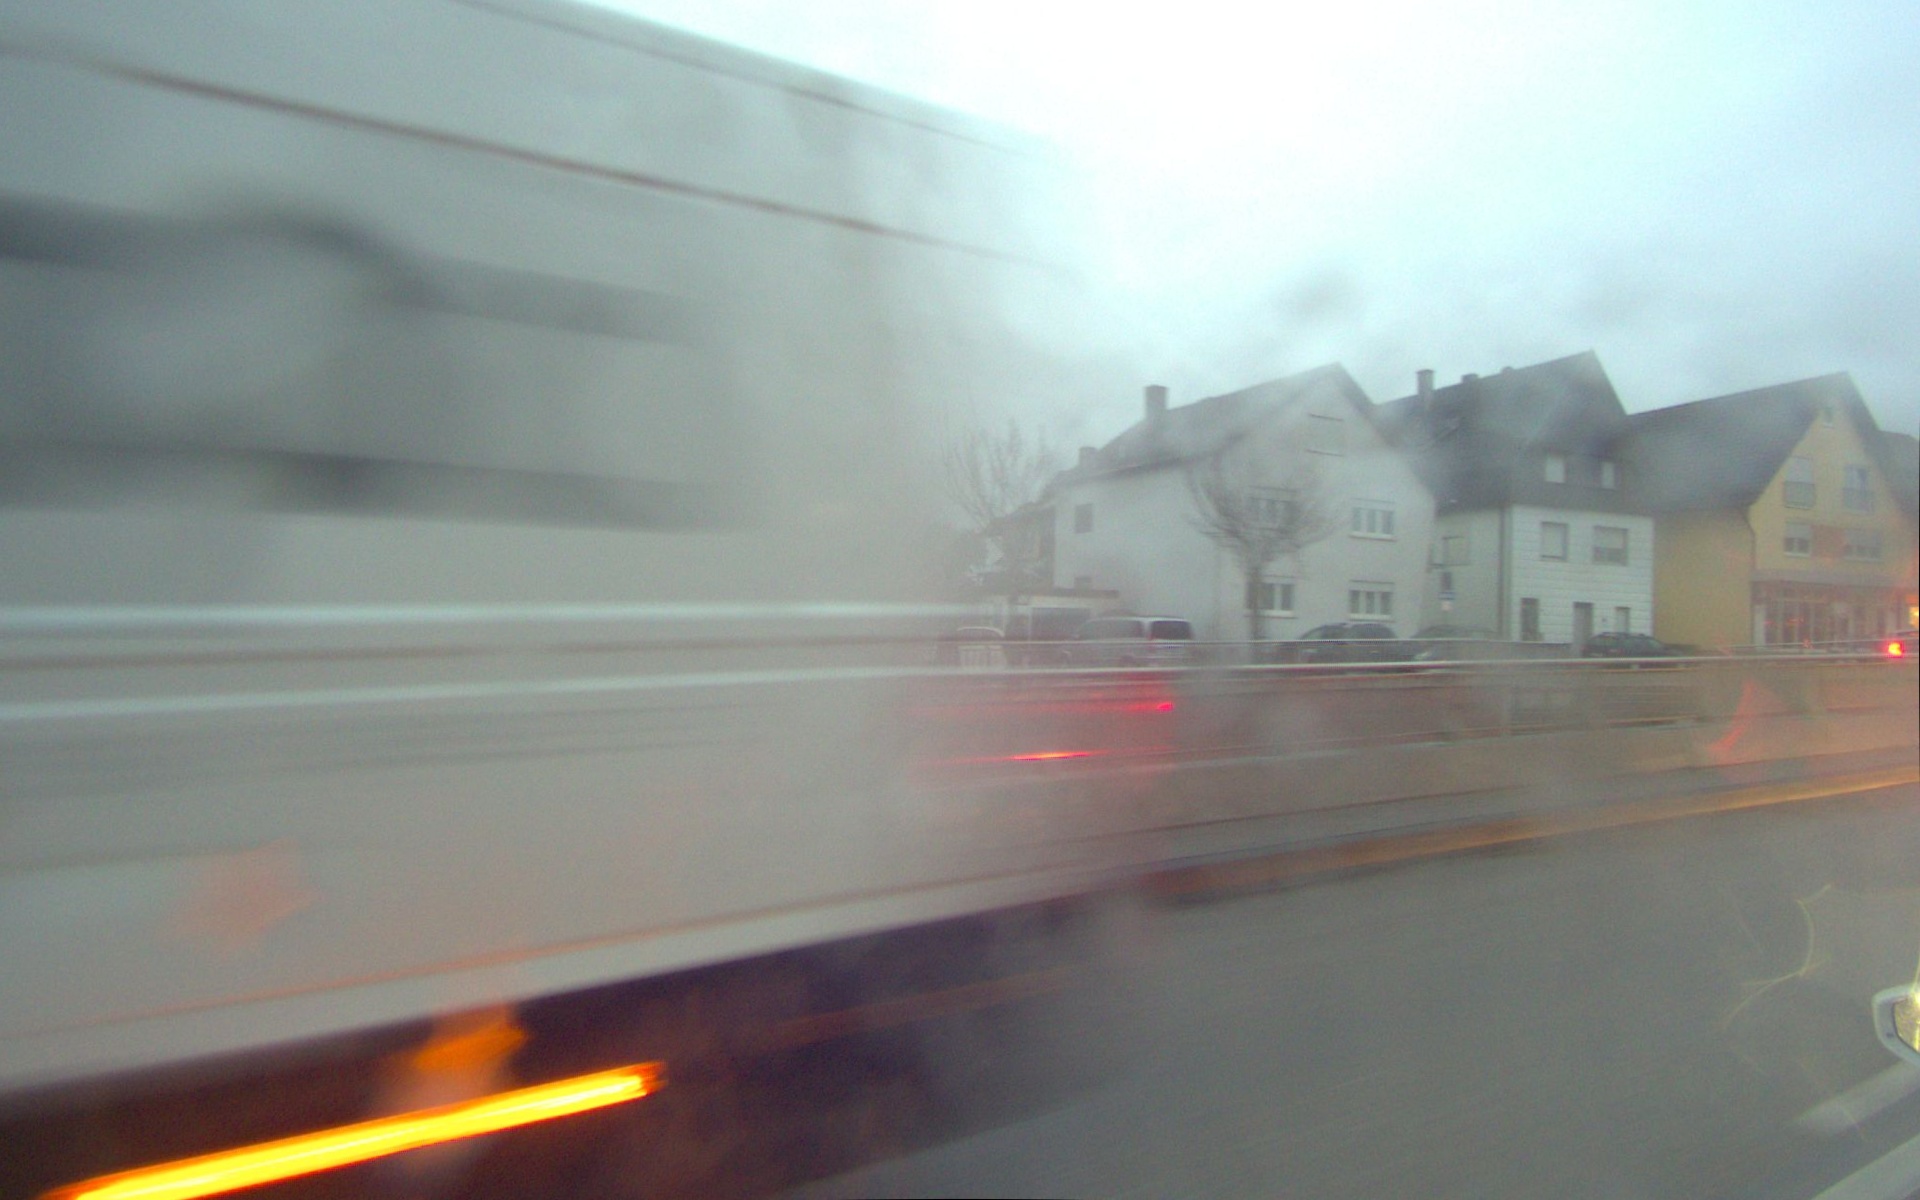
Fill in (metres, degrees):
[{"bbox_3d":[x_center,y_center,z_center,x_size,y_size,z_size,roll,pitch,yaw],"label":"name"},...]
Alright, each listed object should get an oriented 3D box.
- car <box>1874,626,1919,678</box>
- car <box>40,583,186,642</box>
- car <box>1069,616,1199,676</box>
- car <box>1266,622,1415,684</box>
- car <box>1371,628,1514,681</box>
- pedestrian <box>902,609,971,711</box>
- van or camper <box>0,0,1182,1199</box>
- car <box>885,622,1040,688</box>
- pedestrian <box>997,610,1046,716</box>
[{"bbox_3d":[32.027,1.710,33.774,1.800,1.634,4.036,-1,-2,41],"label":"car"},{"bbox_3d":[-32.032,0.483,38.157,3.960,2.040,1.981,3,0,-35],"label":"car"},{"bbox_3d":[5.293,1.401,31.021,1.842,1.716,3.969,1,-2,-30],"label":"car"},{"bbox_3d":[11.302,1.530,29.772,4.165,1.705,1.903,1,-1,-29],"label":"car"},{"bbox_3d":[15.254,1.682,31.776,4.160,1.583,1.905,1,-1,-25],"label":"car"},{"bbox_3d":[-0.448,1.094,18.619,0.960,1.808,0.925,1,0,-26],"label":"pedestrian"},{"bbox_3d":[-2.877,0.076,1.525,6.476,2.704,2.231,1,-2,-29],"label":"van or camper"},{"bbox_3d":[0.069,1.300,23.955,3.417,1.446,1.476,2,-1,-29],"label":"car"},{"bbox_3d":[1.021,1.044,16.816,0.534,1.720,0.661,1,0,-26],"label":"pedestrian"}]
